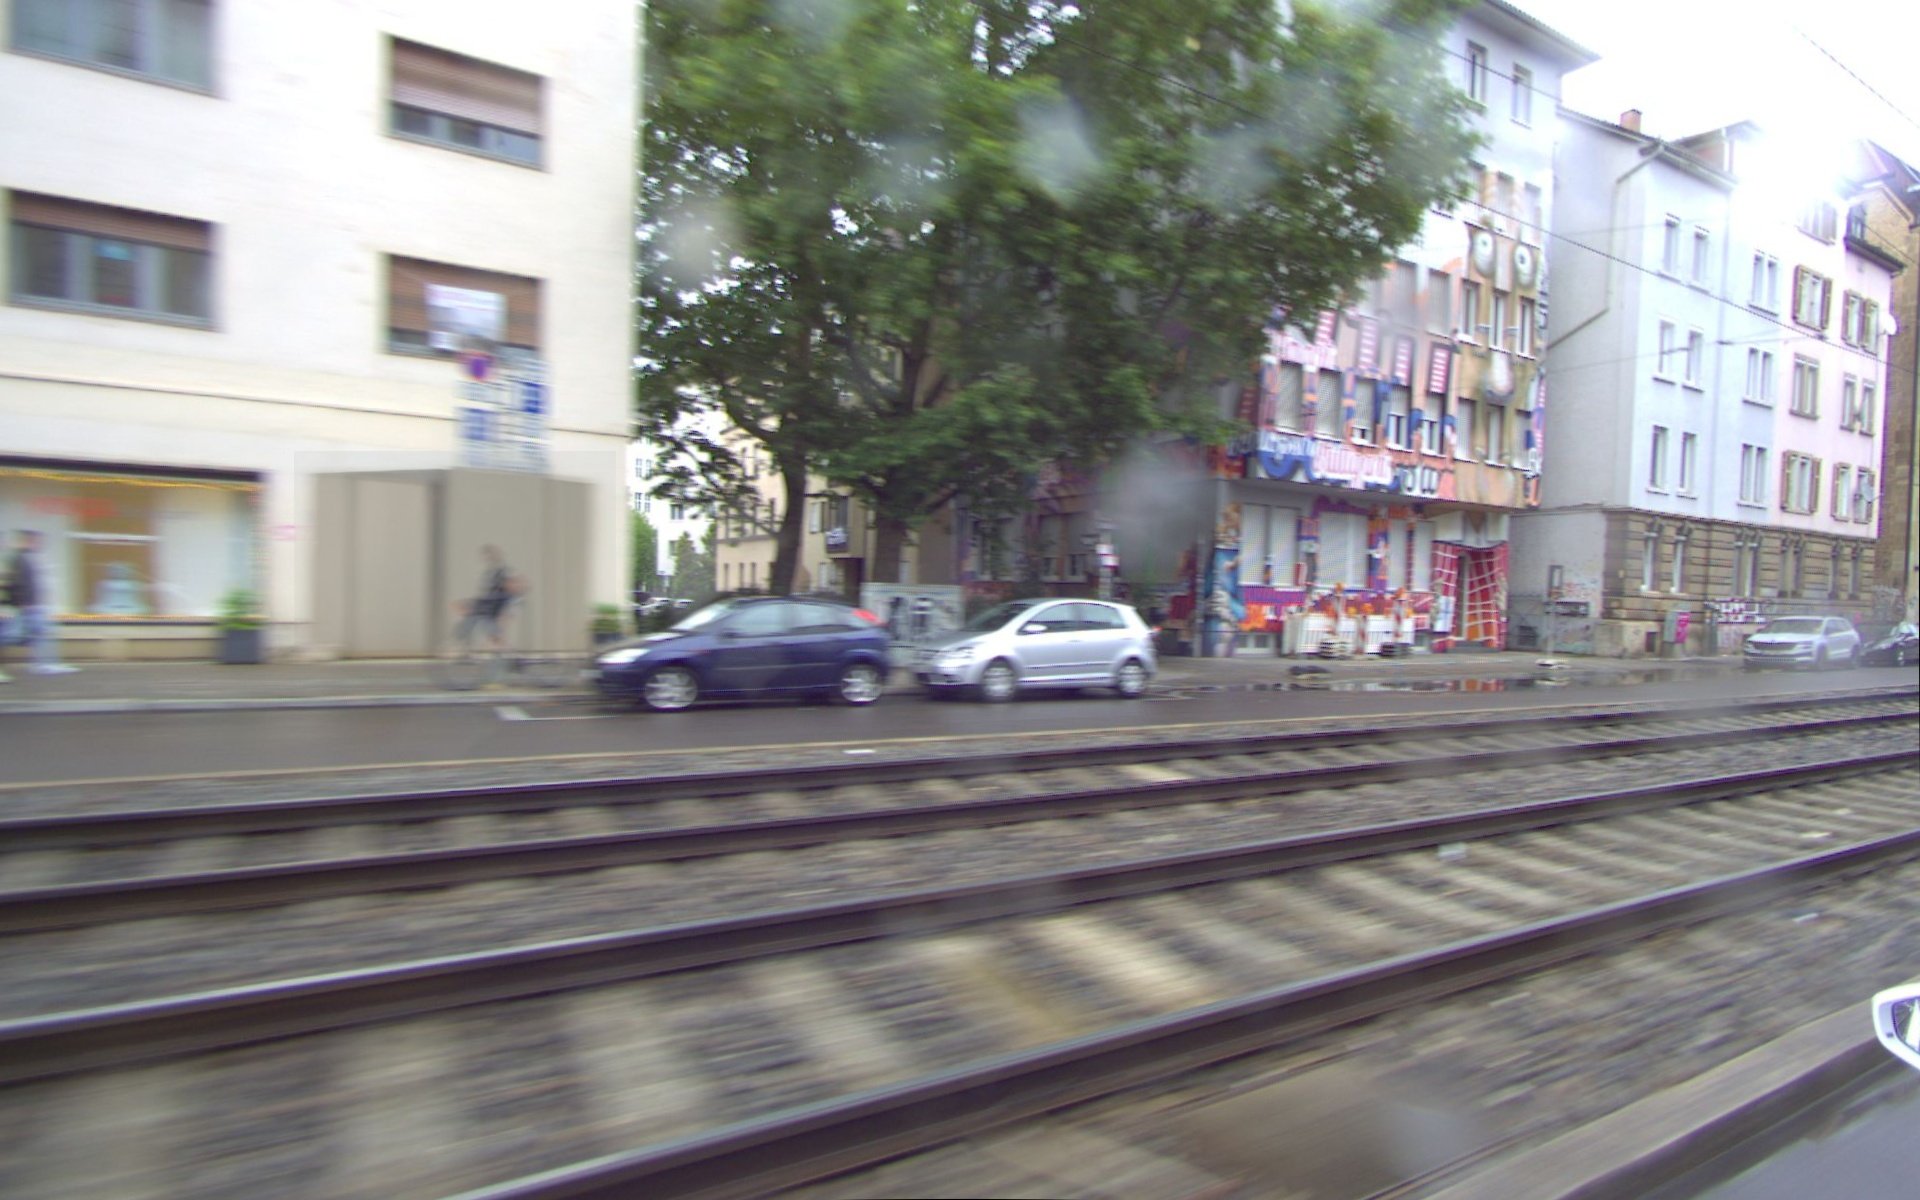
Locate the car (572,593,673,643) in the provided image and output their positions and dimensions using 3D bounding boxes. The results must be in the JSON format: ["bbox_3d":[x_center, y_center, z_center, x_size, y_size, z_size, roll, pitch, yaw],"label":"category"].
[{"bbox_3d":[-14.658,0.755,43.846,1.963,2.040,3.996,1,0,26],"label":"car"}]

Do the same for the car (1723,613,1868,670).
[{"bbox_3d":[25.148,1.214,30.205,4.384,1.539,1.983,1,1,-31],"label":"car"}]

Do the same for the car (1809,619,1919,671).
[{"bbox_3d":[30.143,1.452,33.130,4.160,1.539,1.983,1,1,-31],"label":"car"}]

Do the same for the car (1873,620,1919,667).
[{"bbox_3d":[34.970,1.560,35.994,4.934,1.539,1.983,1,1,-31],"label":"car"}]

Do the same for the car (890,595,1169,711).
[{"bbox_3d":[1.147,0.787,15.948,4.171,1.591,1.713,1,1,-31],"label":"car"}]

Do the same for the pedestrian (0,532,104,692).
[{"bbox_3d":[-11.389,0.143,12.504,0.971,1.921,0.723,1,1,-31],"label":"pedestrian"}]

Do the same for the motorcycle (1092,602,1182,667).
[{"bbox_3d":[4.019,0.770,22.752,2.096,1.398,0.635,1,1,-32],"label":"motorcycle"}]

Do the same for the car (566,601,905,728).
[{"bbox_3d":[-2.988,0.797,13.613,4.171,1.488,1.735,1,-1,-31],"label":"car"}]

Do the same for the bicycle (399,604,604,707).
[{"bbox_3d":[-6.038,0.714,13.329,2.382,1.243,0.586,2,1,-38],"label":"bicycle"}]

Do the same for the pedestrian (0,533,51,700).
[{"bbox_3d":[-11.221,0.180,11.739,0.734,1.921,0.675,1,1,-30],"label":"pedestrian"}]

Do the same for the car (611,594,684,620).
[{"bbox_3d":[-17.886,0.403,57.581,3.564,1.383,1.773,1,0,15],"label":"car"}]
